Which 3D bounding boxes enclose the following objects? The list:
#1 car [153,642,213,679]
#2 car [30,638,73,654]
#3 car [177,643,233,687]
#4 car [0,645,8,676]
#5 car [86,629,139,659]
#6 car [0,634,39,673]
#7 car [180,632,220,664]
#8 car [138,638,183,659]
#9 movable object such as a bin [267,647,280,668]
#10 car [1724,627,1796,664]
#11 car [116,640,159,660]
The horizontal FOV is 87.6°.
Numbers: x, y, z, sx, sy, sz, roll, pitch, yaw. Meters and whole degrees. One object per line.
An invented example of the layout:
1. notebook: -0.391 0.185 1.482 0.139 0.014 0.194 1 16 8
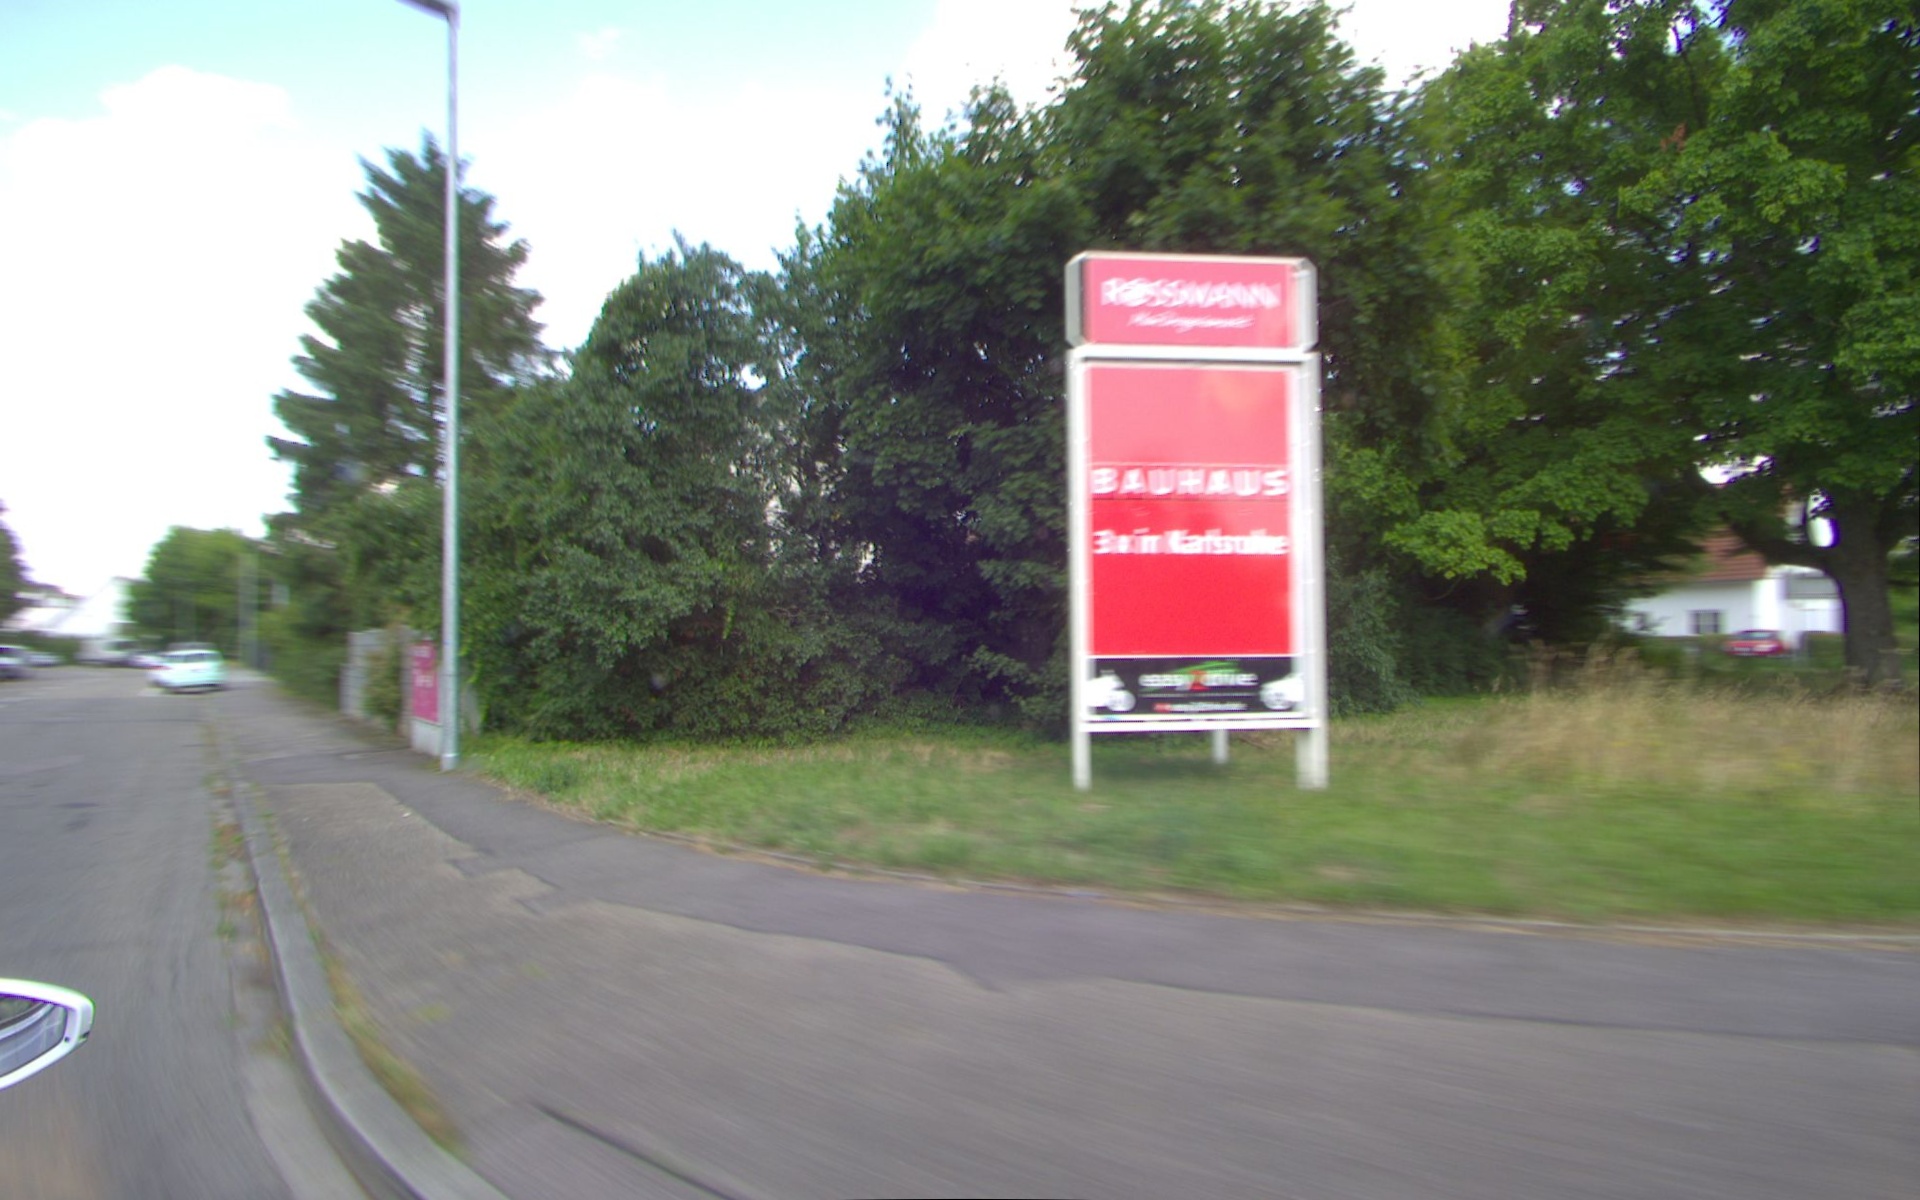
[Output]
1. car: -32.730 2.518 42.248 1.704 1.505 3.726 1 -2 -34
2. car: -85.554 4.321 94.279 4.300 1.476 1.736 -1 -2 30
3. car: -27.821 2.354 36.927 1.567 1.539 3.729 1 -2 -37
4. car: -49.088 3.015 50.138 1.506 1.567 3.727 7 -6 -37
5. car: -73.207 3.813 86.509 5.816 2.472 2.112 -2 -2 35
6. car: -53.644 2.992 56.487 1.865 2.033 5.282 6 -5 -37
7. car: -50.904 3.195 66.995 1.828 1.970 4.835 -2 0 -40
8. car: -62.369 3.769 78.086 4.403 1.531 1.734 -2 -2 38
9. movable object such as a bin: -34.239 2.863 49.968 0.512 1.052 0.625 1 -2 -37
10. car: 35.264 1.975 44.089 4.345 1.550 1.668 2 -2 -40
11. car: -67.908 4.138 82.667 4.070 1.605 1.713 -2 -2 35
